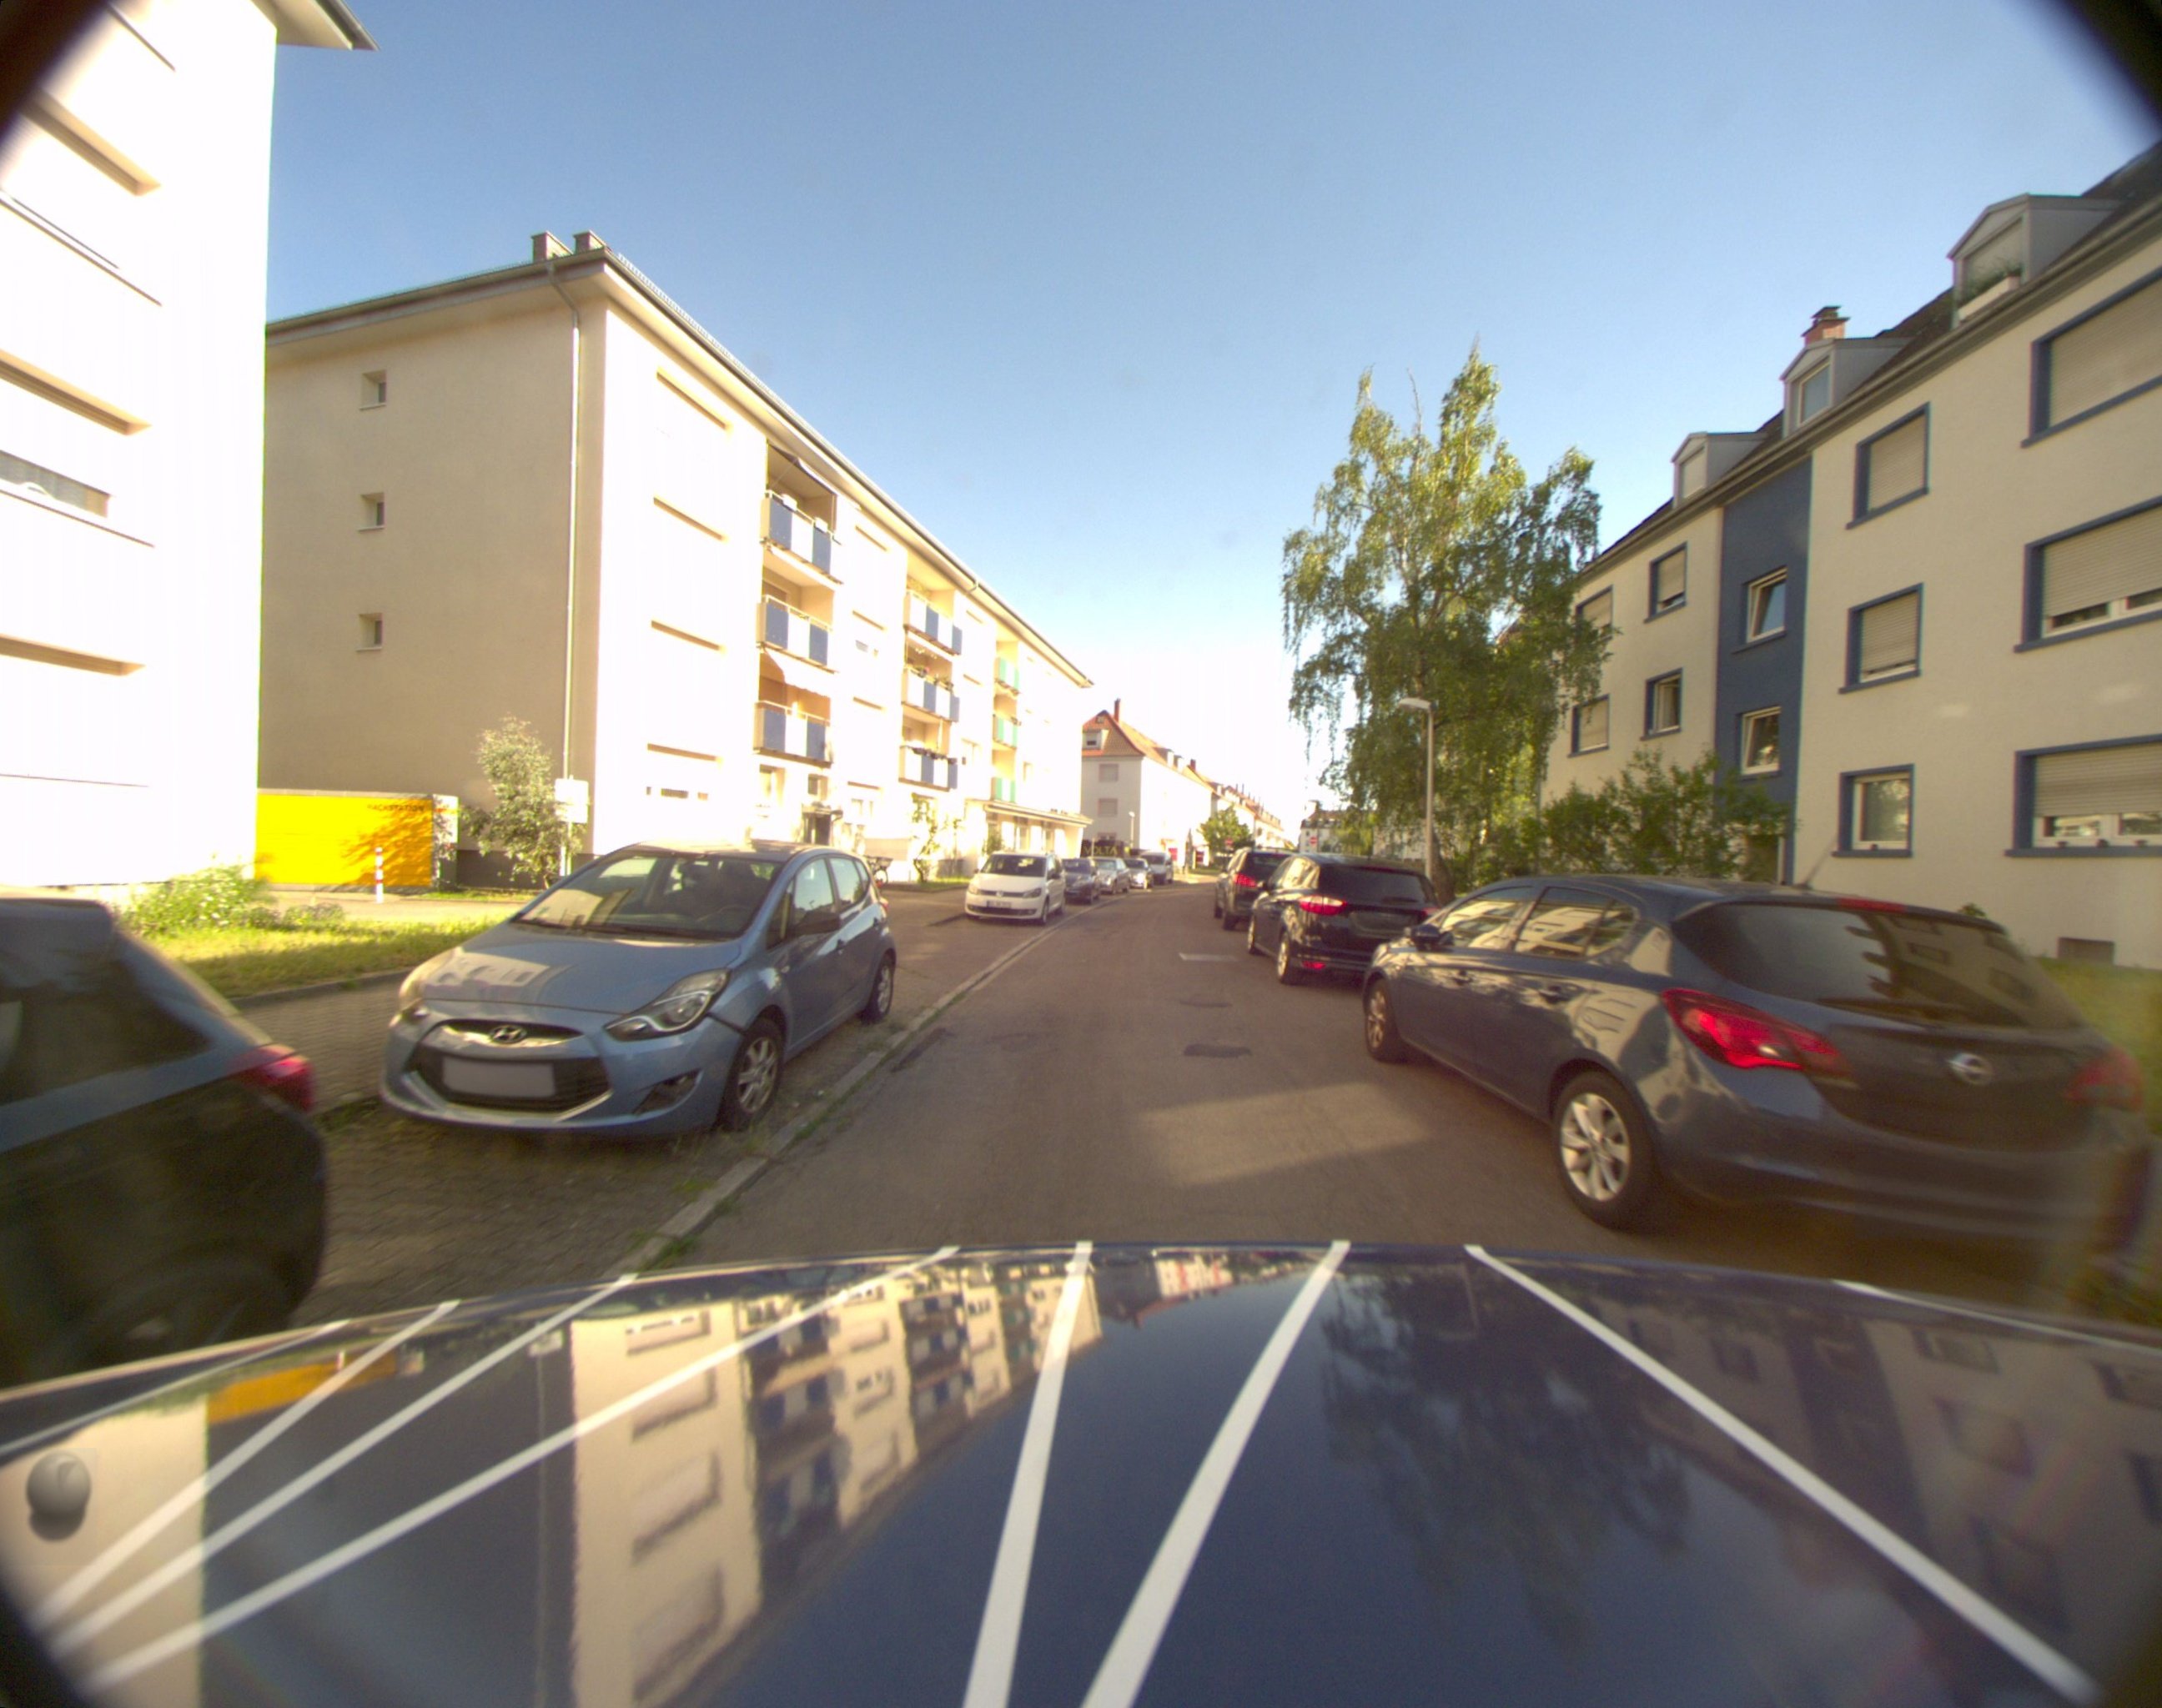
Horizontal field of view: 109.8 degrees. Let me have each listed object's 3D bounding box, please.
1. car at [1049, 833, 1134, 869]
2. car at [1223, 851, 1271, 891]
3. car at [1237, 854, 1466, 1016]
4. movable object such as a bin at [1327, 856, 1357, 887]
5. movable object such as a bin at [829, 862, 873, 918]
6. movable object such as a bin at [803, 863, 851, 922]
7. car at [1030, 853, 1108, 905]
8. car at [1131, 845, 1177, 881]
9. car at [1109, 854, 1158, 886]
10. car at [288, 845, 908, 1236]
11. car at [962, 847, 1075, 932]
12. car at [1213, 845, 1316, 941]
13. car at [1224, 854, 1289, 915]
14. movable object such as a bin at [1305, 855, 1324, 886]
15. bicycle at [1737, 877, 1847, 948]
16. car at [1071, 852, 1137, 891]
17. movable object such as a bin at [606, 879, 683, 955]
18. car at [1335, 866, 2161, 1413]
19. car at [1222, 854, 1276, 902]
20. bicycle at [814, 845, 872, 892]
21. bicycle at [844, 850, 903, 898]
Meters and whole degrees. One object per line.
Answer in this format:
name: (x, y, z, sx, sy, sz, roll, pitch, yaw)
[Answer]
car: (0.773, -0.226, 55.810, 5.948, 2.530, 2.002, 1, 0, 15)
car: (7.134, 0.657, 32.350, 1.680, 1.444, 4.625, 4, 2, 15)
car: (3.248, 0.843, 10.033, 1.697, 1.551, 4.158, 5, 0, 4)
movable object such as a bin: (11.821, 0.788, 34.467, 1.221, 1.372, 0.768, 1, 1, 23)
movable object such as a bin: (-4.710, 0.728, 15.580, 0.584, 1.050, 0.641, 5, 4, 12)
movable object such as a bin: (-4.987, 0.740, 14.925, 0.584, 1.089, 0.683, 3, 1, 12)
car: (-0.260, 0.704, 24.012, 1.697, 1.423, 4.690, -1, 0, 9)
car: (4.075, 0.459, 42.025, 1.749, 1.813, 4.136, 3, 1, 16)
car: (2.611, 0.728, 36.741, 1.680, 1.399, 4.550, 1, 1, 13)
car: (-2.635, 0.817, 5.424, 1.770, 1.626, 4.040, 2, 2, 1)
car: (-1.338, 0.725, 18.069, 1.697, 1.646, 4.392, 4, 1, 7)
car: (3.889, 0.720, 16.740, 1.558, 1.704, 4.339, 4, 2, 6)
car: (4.980, 0.794, 21.881, 1.557, 1.434, 3.971, 4, 2, 11)
movable object such as a bin: (10.980, 0.769, 35.742, 0.776, 1.385, 1.419, 2, 1, 18)
bicycle: (12.322, 1.012, 13.186, 1.412, 1.145, 0.415, 2, 1, 2)
car: (1.018, 0.641, 30.846, 1.680, 1.438, 4.729, 1, 1, 14)
movable object such as a bin: (-5.620, 0.798, 9.804, 0.585, 0.883, 0.641, 3, 1, 1)
car: (2.990, 0.935, 4.351, 1.698, 1.437, 4.020, 6, 1, 2)
car: (6.032, 0.796, 27.516, 1.680, 1.434, 4.283, 4, 2, 11)
bicycle: (-6.444, 0.373, 20.664, 0.515, 1.196, 1.836, 3, 1, 18)
bicycle: (-5.545, 0.519, 20.426, 0.515, 1.196, 1.764, 3, 1, 22)
